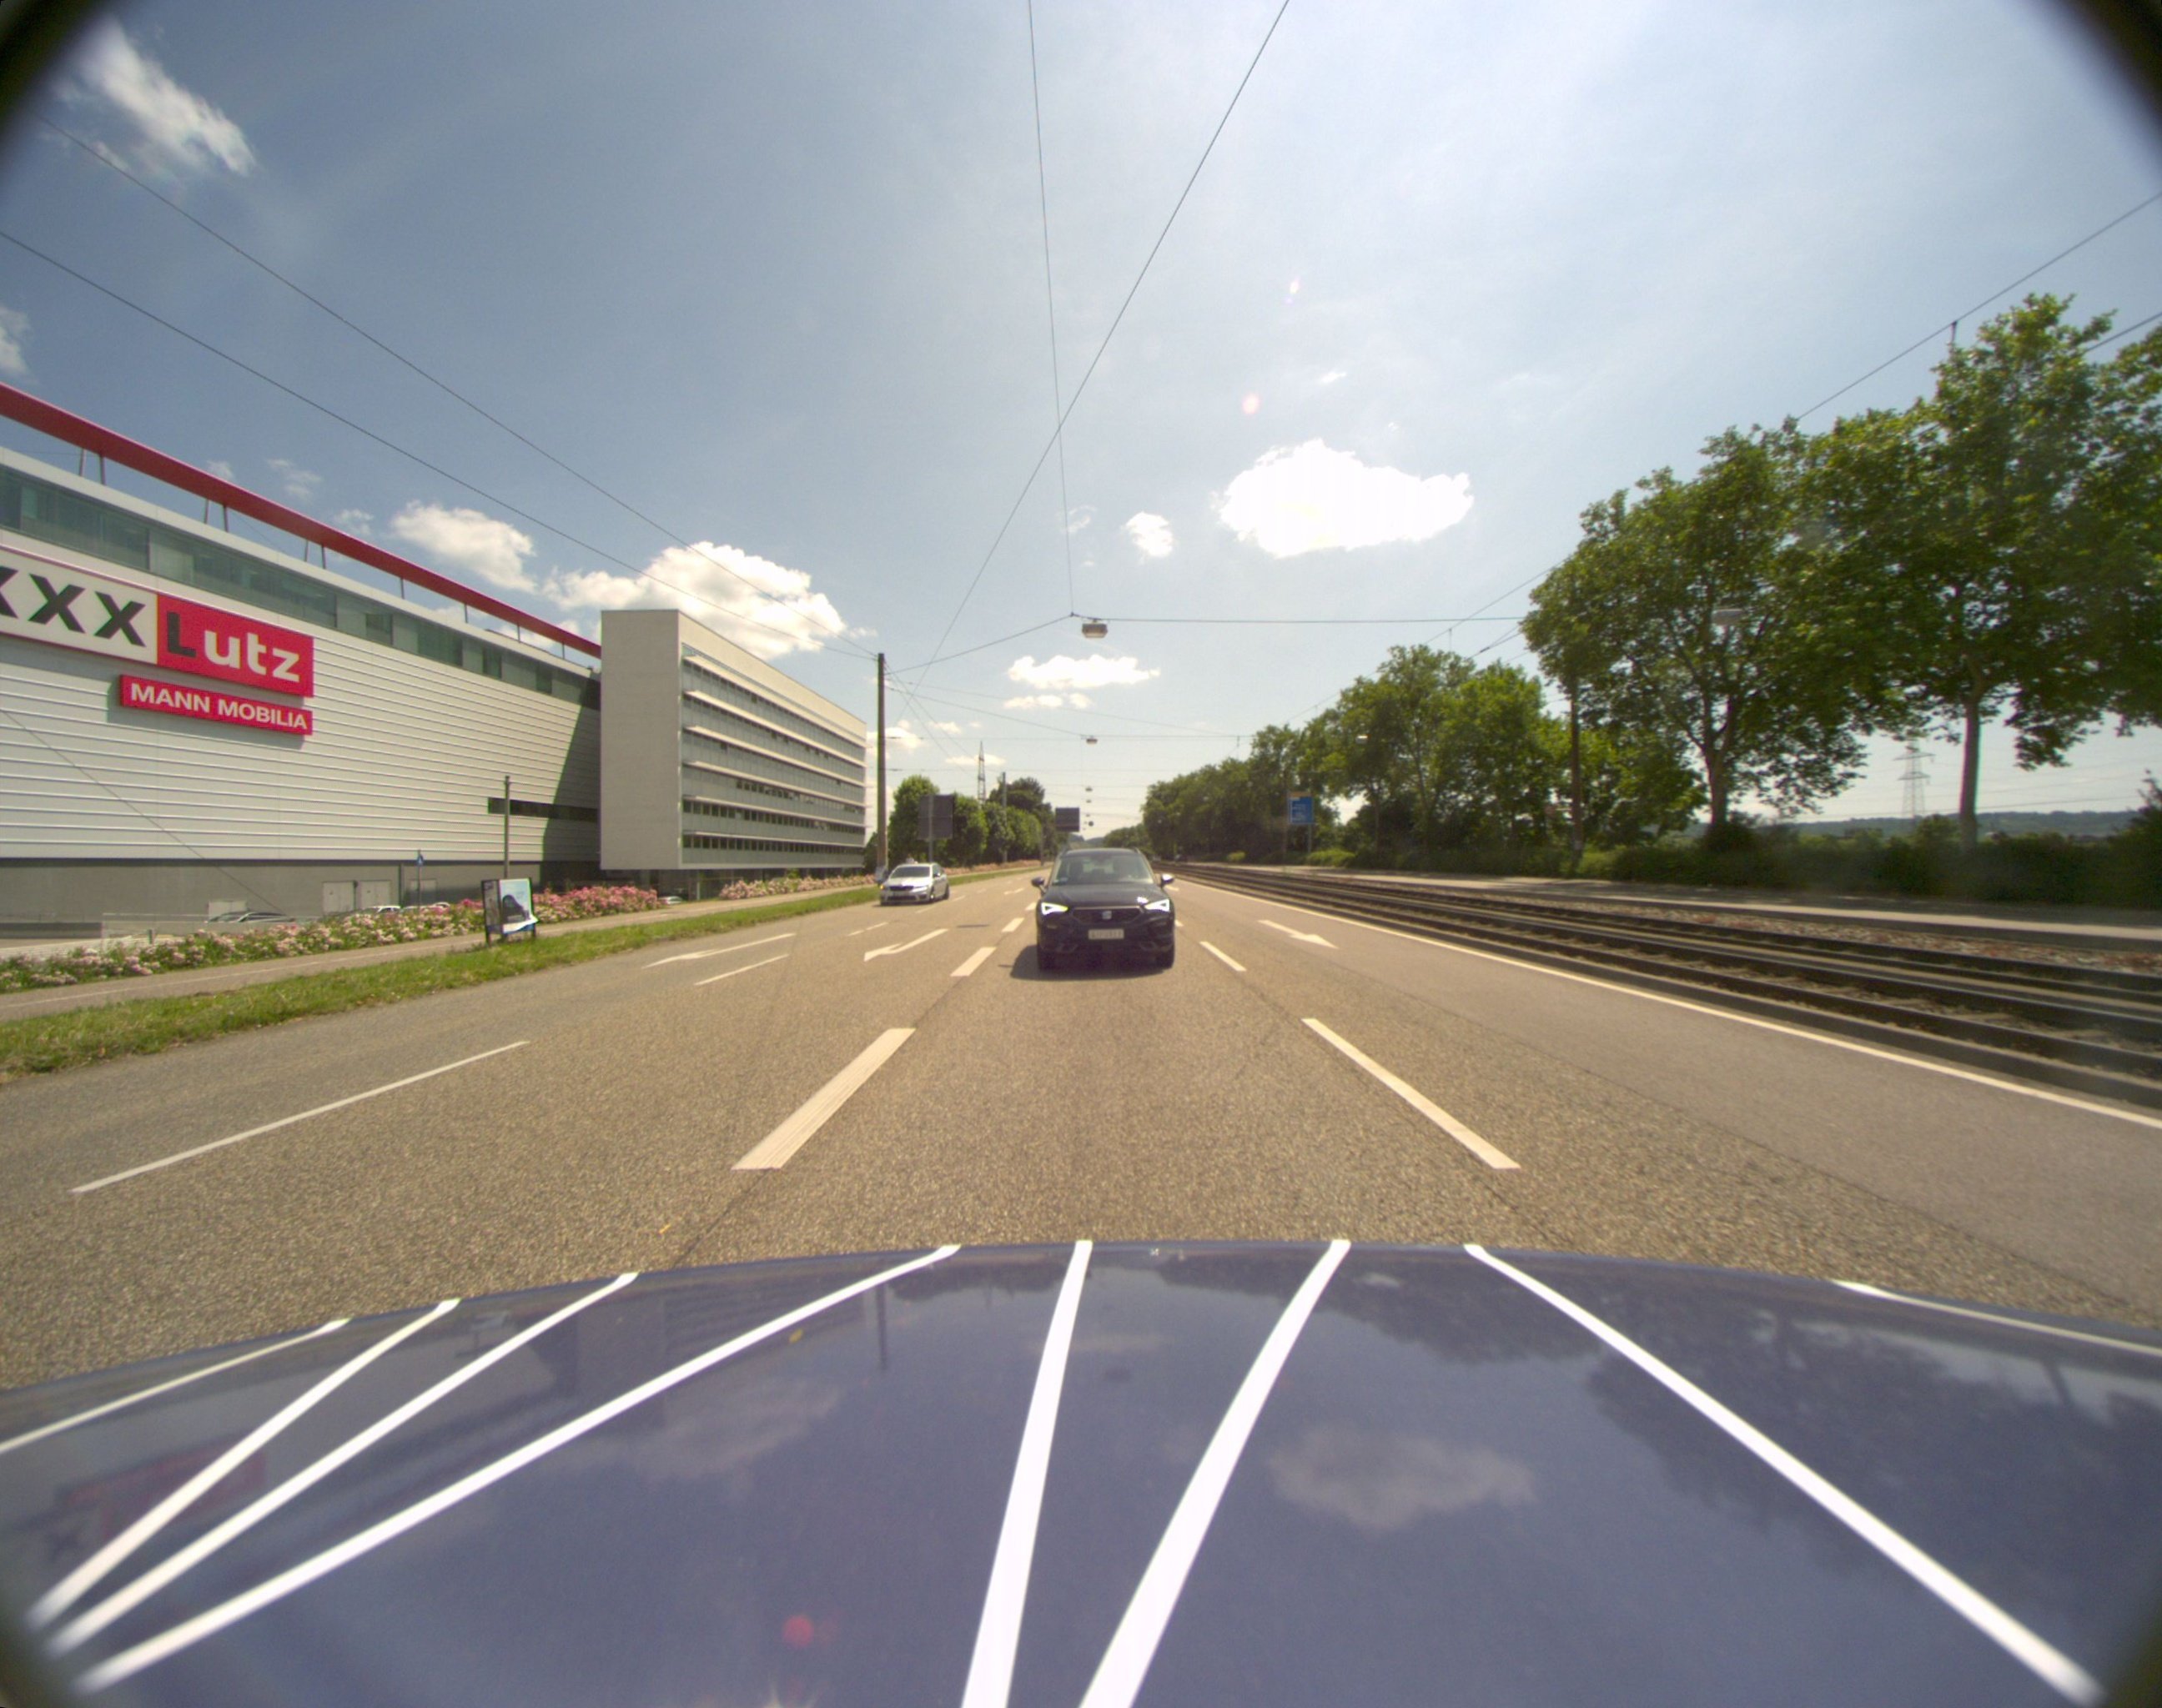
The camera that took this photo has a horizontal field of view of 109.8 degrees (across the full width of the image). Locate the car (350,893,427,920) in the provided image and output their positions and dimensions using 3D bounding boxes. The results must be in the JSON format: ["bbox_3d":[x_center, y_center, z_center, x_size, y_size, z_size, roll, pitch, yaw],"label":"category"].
[{"bbox_3d":[-51.624,3.885,56.770,1.998,1.602,3.999,-2,1,0],"label":"car"}]

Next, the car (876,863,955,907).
[{"bbox_3d":[-5.835,1.055,27.270,1.896,1.331,4.000,-2,0,1],"label":"car"}]

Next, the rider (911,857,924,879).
[{"bbox_3d":[-11.121,0.941,51.730,0.671,1.449,0.618,-2,1,0],"label":"rider"}]

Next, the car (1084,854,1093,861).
[{"bbox_3d":[1.729,0.758,178.449,1.998,1.641,4.000,-2,0,0],"label":"car"}]

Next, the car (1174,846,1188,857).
[{"bbox_3d":[17.232,-0.419,131.490,1.998,1.907,4.411,-2,0,3],"label":"car"}]

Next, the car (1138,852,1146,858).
[{"bbox_3d":[16.901,0.155,210.220,1.690,1.574,4.058,2,0,-1],"label":"car"}]

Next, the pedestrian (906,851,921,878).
[{"bbox_3d":[-11.808,0.720,53.461,0.758,1.838,0.930,-2,1,3],"label":"pedestrian"}]

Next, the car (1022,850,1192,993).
[{"bbox_3d":[0.298,0.756,10.925,1.898,1.564,4.511,-2,1,0],"label":"car"}]

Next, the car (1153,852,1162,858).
[{"bbox_3d":[17.324,0.241,171.939,1.826,1.407,3.884,1,0,2],"label":"car"}]
